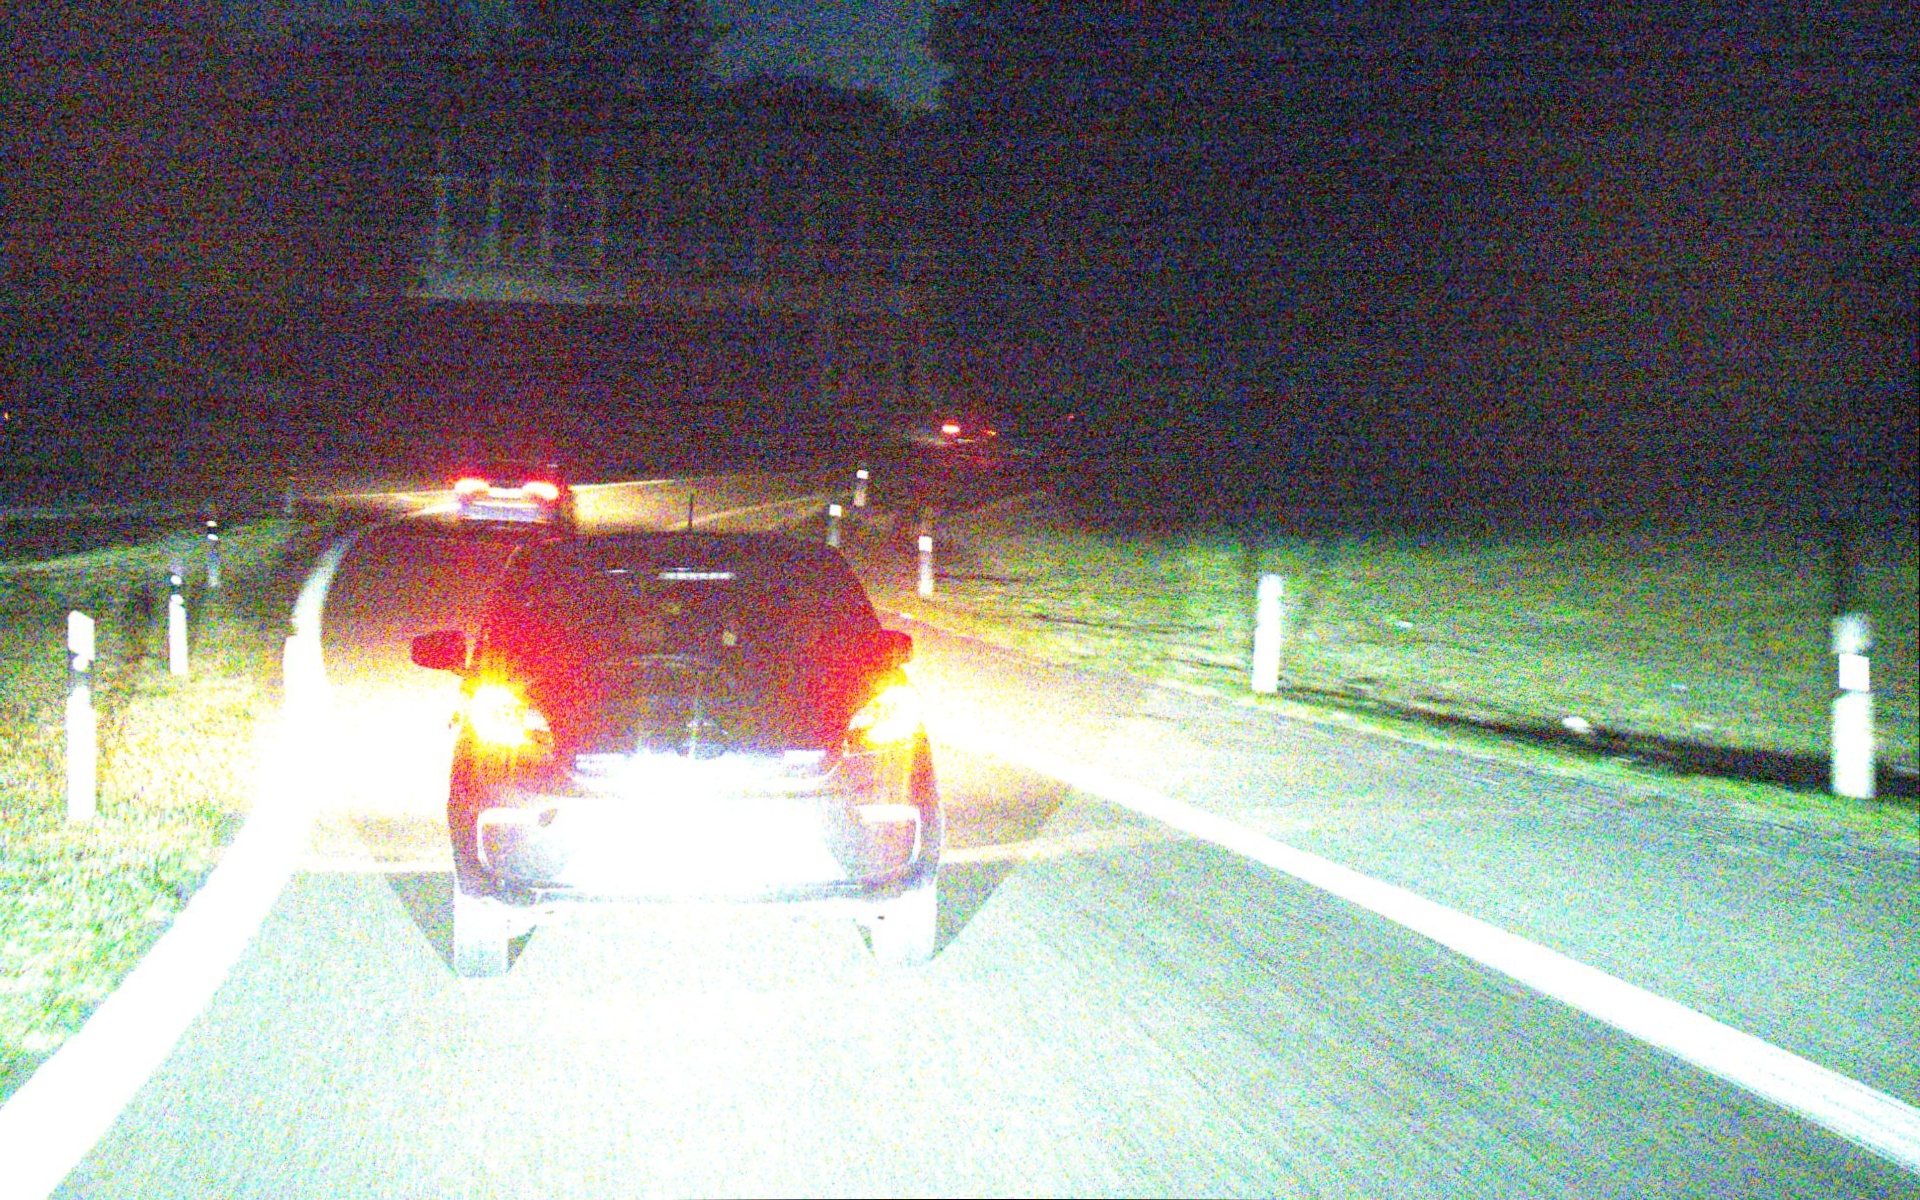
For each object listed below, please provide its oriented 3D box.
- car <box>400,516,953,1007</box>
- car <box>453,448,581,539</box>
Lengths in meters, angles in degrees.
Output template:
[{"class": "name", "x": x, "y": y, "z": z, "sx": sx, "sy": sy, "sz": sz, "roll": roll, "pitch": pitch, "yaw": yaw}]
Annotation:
[{"class": "car", "x": -1.046, "y": 0.452, "z": 12.718, "sx": 1.691, "sy": 1.472, "sz": 4.001, "roll": -1, "pitch": 2, "yaw": -5}, {"class": "car", "x": -7.765, "y": -1.883, "z": 60.544, "sx": 1.951, "sy": 1.532, "sz": 4.242, "roll": 0, "pitch": 2, "yaw": -4}]
